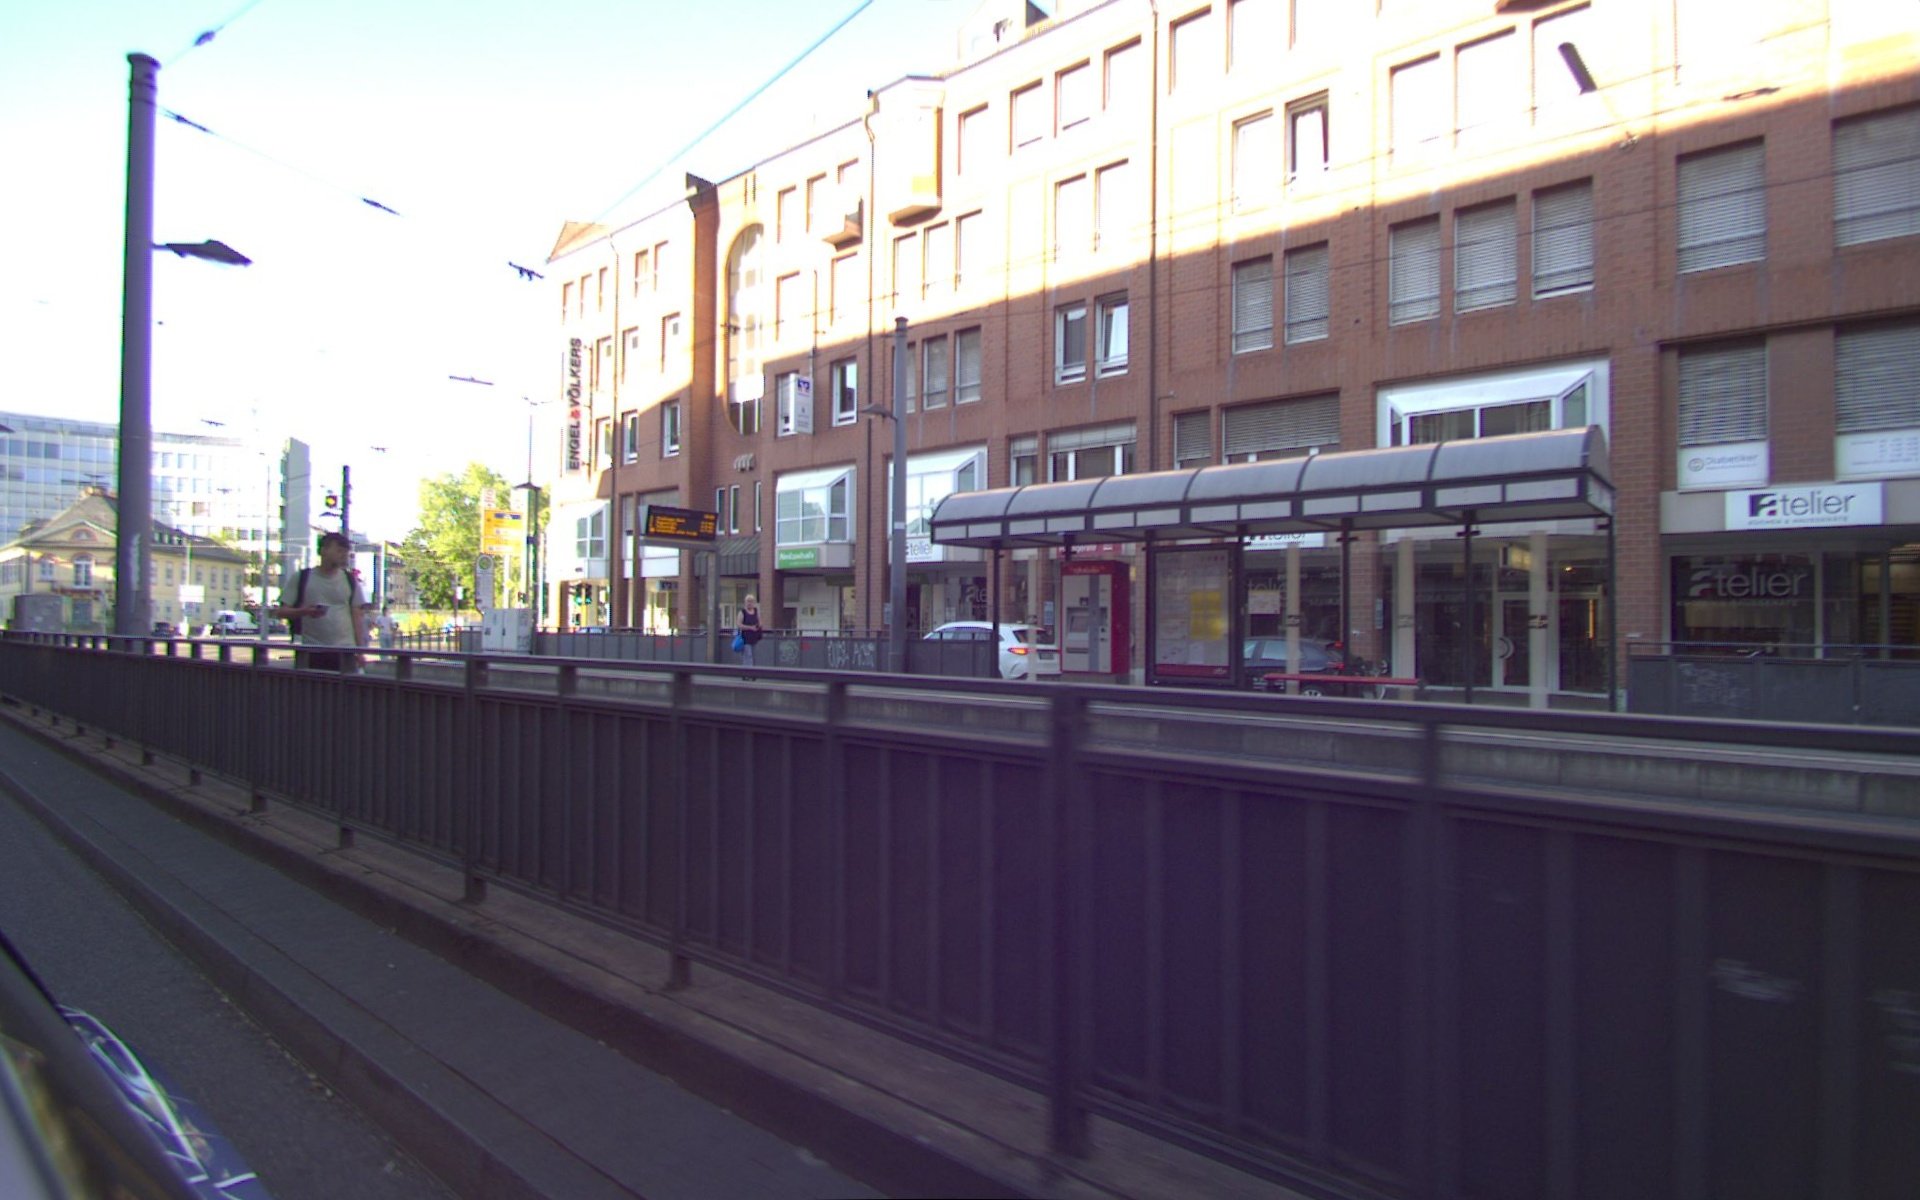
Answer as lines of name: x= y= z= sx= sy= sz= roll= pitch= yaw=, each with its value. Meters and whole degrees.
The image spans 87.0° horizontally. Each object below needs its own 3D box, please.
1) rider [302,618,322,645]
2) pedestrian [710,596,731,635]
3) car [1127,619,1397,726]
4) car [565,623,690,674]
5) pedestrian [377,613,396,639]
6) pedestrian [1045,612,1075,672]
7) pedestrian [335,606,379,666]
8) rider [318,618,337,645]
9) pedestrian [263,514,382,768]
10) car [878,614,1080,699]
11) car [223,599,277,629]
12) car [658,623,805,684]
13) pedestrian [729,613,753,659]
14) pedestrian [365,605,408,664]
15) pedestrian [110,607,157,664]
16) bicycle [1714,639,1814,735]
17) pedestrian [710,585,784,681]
rider: x=-50.463 y=2.462 z=78.844 sx=0.997 sy=2.029 sz=1.023 roll=-1 pitch=1 yaw=-15
pedestrian: x=-10.413 y=0.657 z=43.995 sx=0.637 sy=1.674 sz=0.605 roll=-1 pitch=-1 yaw=40
car: x=5.394 y=1.227 z=18.409 sx=4.289 sy=1.606 sz=1.889 roll=1 pitch=-2 yaw=41
car: x=-10.631 y=1.518 z=32.262 sx=4.116 sy=1.541 sz=1.882 roll=-1 pitch=-3 yaw=40
pedestrian: x=-46.533 y=2.120 z=82.081 sx=0.990 sy=2.029 sz=1.058 roll=0 pitch=1 yaw=45
pedestrian: x=2.880 y=1.196 z=29.106 sx=0.636 sy=1.674 sz=0.606 roll=0 pitch=-1 yaw=35
pedestrian: x=-18.341 y=1.076 z=30.797 sx=0.809 sy=1.780 sz=0.851 roll=-1 pitch=1 yaw=33
rider: x=-49.382 y=2.429 z=78.983 sx=0.997 sy=2.029 sz=0.992 roll=-1 pitch=1 yaw=-15
pedestrian: x=-4.814 y=0.295 z=7.641 sx=0.605 sy=1.805 sz=0.577 roll=0 pitch=-1 yaw=39
car: x=0.354 y=1.203 z=22.583 sx=4.289 sy=1.606 sz=1.889 roll=1 pitch=-2 yaw=41
car: x=-77.632 y=1.537 z=110.791 sx=2.501 sy=3.071 sz=6.390 roll=3 pitch=-1 yaw=-13
car: x=-6.485 y=1.466 z=28.555 sx=4.193 sy=1.612 sz=1.873 roll=-1 pitch=-3 yaw=40
pedestrian: x=-8.111 y=1.319 z=37.426 sx=0.637 sy=1.674 sz=0.605 roll=-1 pitch=-1 yaw=40
pedestrian: x=-17.872 y=1.061 z=31.549 sx=0.809 sy=1.780 sz=0.851 roll=-1 pitch=1 yaw=34
pedestrian: x=-27.015 y=1.160 z=33.085 sx=0.852 sy=1.817 sz=0.808 roll=-1 pitch=1 yaw=12
bicycle: x=13.062 y=1.352 z=16.407 sx=2.578 sy=1.291 sz=0.841 roll=-2 pitch=1 yaw=-42
pedestrian: x=-3.861 y=0.586 z=18.336 sx=0.967 sy=1.674 sz=0.902 roll=0 pitch=-1 yaw=40
